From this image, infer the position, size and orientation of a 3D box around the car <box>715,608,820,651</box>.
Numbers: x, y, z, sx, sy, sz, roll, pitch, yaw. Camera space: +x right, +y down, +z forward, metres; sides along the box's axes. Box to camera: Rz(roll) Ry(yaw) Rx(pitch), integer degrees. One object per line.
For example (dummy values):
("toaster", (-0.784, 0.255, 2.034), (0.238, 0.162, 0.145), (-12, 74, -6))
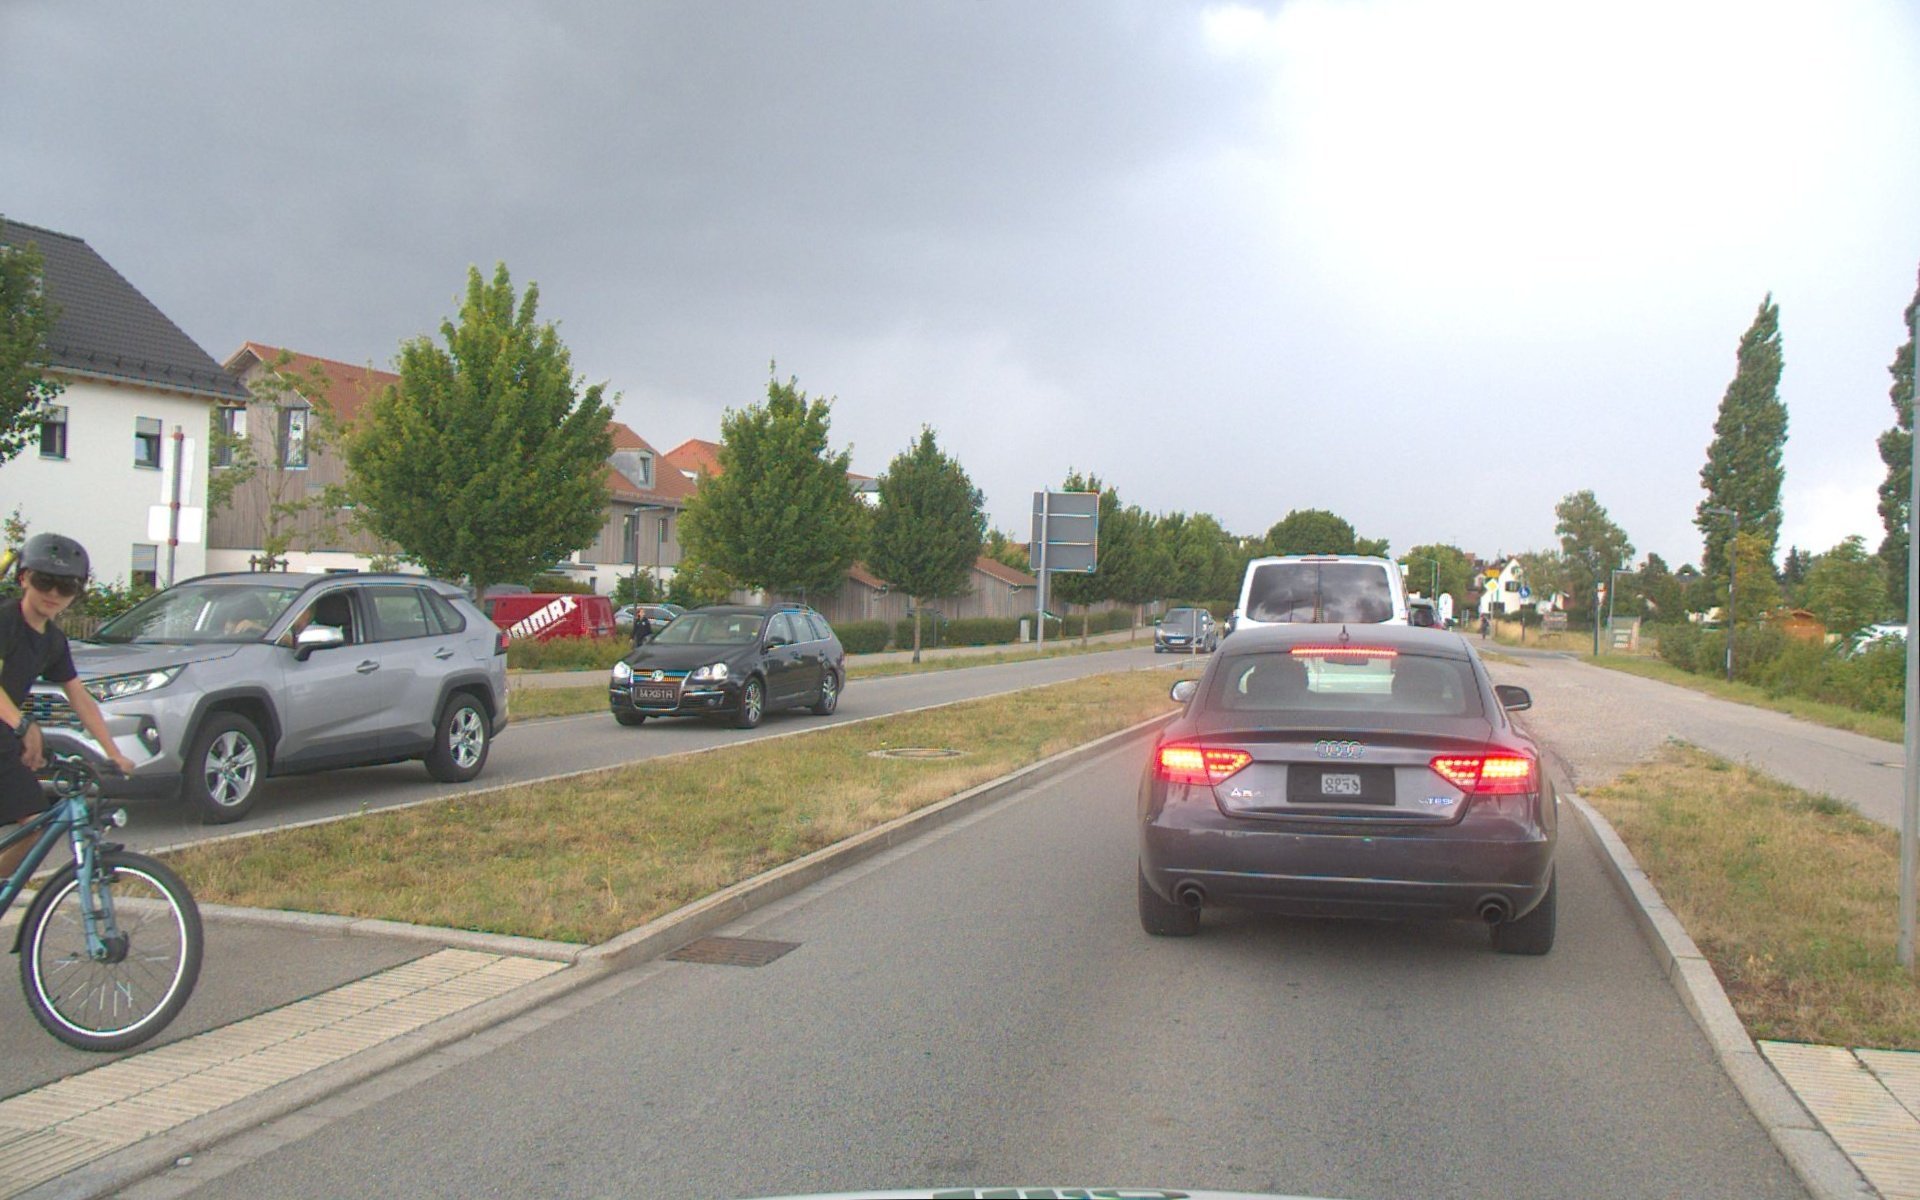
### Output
("car", (-7.494, 1.126, 64.506), (3.650, 1.508, 1.688), (2, 0, 13))

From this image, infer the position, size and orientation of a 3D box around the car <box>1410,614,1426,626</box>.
("car", (50.660, 2.218, 182.951), (1.579, 1.294, 3.463), (2, 0, 16))

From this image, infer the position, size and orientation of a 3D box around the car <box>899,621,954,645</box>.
("car", (-1.583, 1.576, 78.523), (2.419, 1.046, 1.186), (2, 0, 10))

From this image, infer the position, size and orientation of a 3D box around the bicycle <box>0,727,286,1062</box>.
("bicycle", (-3.114, 0.917, 5.386), (1.671, 0.963, 0.498), (0, 0, 8))

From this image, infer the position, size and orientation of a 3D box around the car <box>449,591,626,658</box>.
("car", (-11.928, 0.666, 46.742), (4.436, 1.709, 2.001), (2, 0, 19))

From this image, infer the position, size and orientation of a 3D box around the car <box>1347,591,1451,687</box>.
("car", (8.309, 0.693, 31.288), (1.739, 1.646, 4.003), (2, 0, 15))

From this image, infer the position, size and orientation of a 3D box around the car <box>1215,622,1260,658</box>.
("car", (13.538, 1.901, 80.457), (1.827, 1.601, 4.003), (2, 0, 14))

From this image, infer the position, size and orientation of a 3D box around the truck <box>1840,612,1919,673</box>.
("truck", (32.063, 1.471, 54.831), (4.694, 1.905, 2.002), (2, 0, 11))

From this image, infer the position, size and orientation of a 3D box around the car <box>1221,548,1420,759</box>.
("car", (3.939, 0.512, 17.964), (1.827, 1.968, 4.003), (2, 0, 13))

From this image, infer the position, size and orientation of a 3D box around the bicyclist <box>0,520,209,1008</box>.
("bicyclist", (-3.062, 0.492, 5.399), (0.848, 1.472, 0.725), (0, 0, 6))

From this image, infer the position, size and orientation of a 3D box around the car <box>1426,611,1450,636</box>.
("car", (34.264, 1.686, 118.602), (1.579, 1.659, 3.618), (2, 0, 16))

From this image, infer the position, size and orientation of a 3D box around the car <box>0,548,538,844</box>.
("car", (-5.174, 0.568, 12.179), (1.951, 1.733, 4.638), (0, 0, 15))

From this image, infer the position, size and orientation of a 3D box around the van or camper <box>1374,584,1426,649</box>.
("van or camper", (24.464, 0.888, 92.005), (2.569, 3.381, 6.826), (2, 0, 15))

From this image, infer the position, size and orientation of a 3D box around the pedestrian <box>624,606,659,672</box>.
("pedestrian", (-7.848, 0.957, 40.779), (0.569, 1.586, 0.660), (2, 0, 14))

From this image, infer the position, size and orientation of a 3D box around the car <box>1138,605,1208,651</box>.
("car", (7.250, 0.916, 55.981), (1.693, 1.434, 4.208), (2, 0, 16))

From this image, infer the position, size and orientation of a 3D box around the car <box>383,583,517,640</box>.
("car", (-17.174, 0.415, 55.906), (1.952, 1.803, 4.466), (2, 0, 20))

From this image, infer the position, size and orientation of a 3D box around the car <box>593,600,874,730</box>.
("car", (-2.705, 0.742, 20.883), (1.717, 1.441, 4.457), (0, 0, 18))

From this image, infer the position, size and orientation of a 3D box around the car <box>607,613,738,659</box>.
("car", (-9.546, 1.186, 55.047), (3.831, 1.338, 1.844), (2, 0, 13))

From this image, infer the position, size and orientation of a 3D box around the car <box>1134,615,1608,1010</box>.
("car", (2.022, 0.804, 8.329), (1.746, 1.416, 4.136), (1, 0, 13))
